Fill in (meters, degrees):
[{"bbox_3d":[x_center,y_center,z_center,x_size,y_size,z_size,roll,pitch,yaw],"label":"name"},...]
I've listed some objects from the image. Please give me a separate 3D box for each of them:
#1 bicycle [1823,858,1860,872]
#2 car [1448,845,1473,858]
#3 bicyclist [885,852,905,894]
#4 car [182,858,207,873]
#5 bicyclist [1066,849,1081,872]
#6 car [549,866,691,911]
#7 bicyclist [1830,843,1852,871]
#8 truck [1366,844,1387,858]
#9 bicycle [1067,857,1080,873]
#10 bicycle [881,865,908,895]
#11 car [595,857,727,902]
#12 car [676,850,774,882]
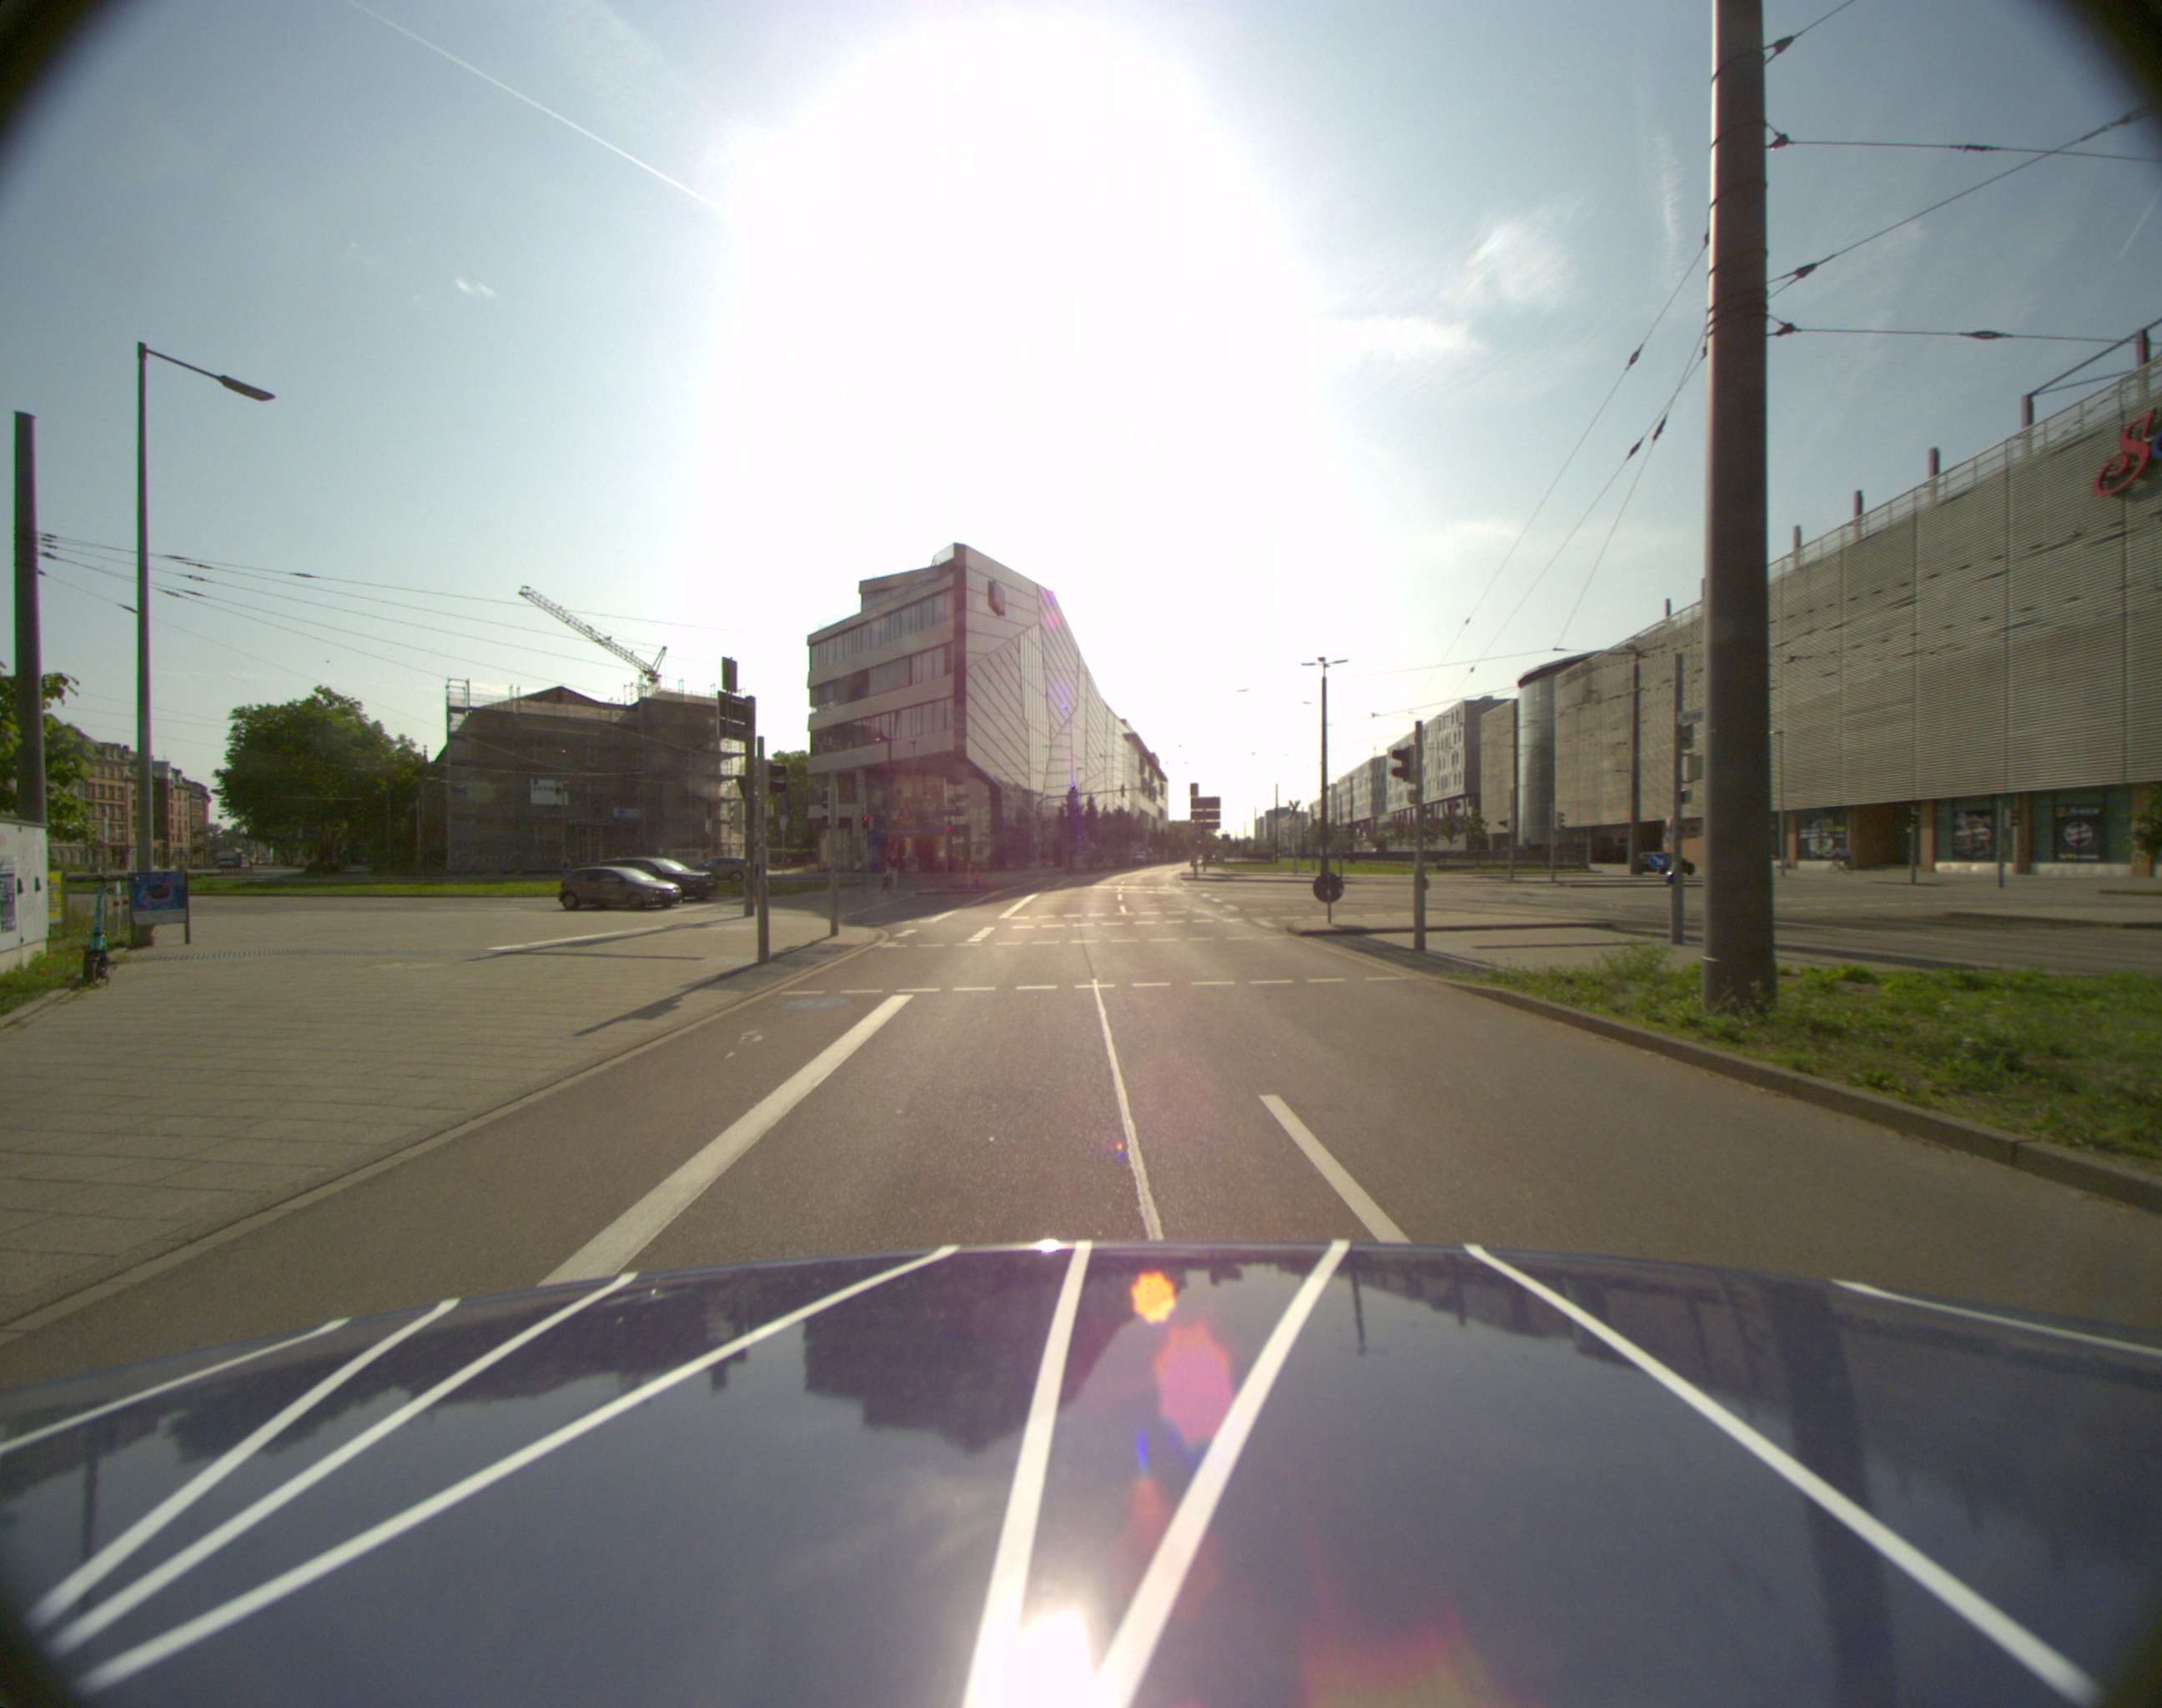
[{"bbox_3d":[46.069,0.669,46.069,0.581,0.775,1.870,0,0,9],"label":"bicycle"},{"bbox_3d":[46.006,-0.309,92.067,1.741,1.551,3.403,0,2,9],"label":"car"},{"bbox_3d":[-7.694,0.769,31.452,0.669,1.693,0.637,0,2,-1],"label":"bicyclist"},{"bbox_3d":[-126.067,1.572,108.088,3.988,1.968,2.004,2,3,44],"label":"car"},{"bbox_3d":[-0.519,0.479,53.958,0.782,1.577,0.933,0,2,16],"label":"bicyclist"},{"bbox_3d":[-15.650,1.159,25.872,3.890,1.411,1.645,0,1,5],"label":"car"},{"bbox_3d":[46.058,0.177,46.047,0.568,1.621,0.714,0,2,8],"label":"bicyclist"},{"bbox_3d":[51.092,-0.489,131.548,2.205,2.308,4.553,-1,0,5],"label":"truck"},{"bbox_3d":[-0.539,0.802,53.991,0.418,1.050,1.961,0,2,16],"label":"bicycle"},{"bbox_3d":[-7.686,1.055,31.367,0.669,1.092,1.804,0,2,-1],"label":"bicycle"},{"bbox_3d":[-16.231,0.979,29.429,4.215,1.668,1.804,0,0,8],"label":"car"},{"bbox_3d":[-20.752,0.683,44.445,4.810,1.773,1.955,0,2,2],"label":"car"}]
